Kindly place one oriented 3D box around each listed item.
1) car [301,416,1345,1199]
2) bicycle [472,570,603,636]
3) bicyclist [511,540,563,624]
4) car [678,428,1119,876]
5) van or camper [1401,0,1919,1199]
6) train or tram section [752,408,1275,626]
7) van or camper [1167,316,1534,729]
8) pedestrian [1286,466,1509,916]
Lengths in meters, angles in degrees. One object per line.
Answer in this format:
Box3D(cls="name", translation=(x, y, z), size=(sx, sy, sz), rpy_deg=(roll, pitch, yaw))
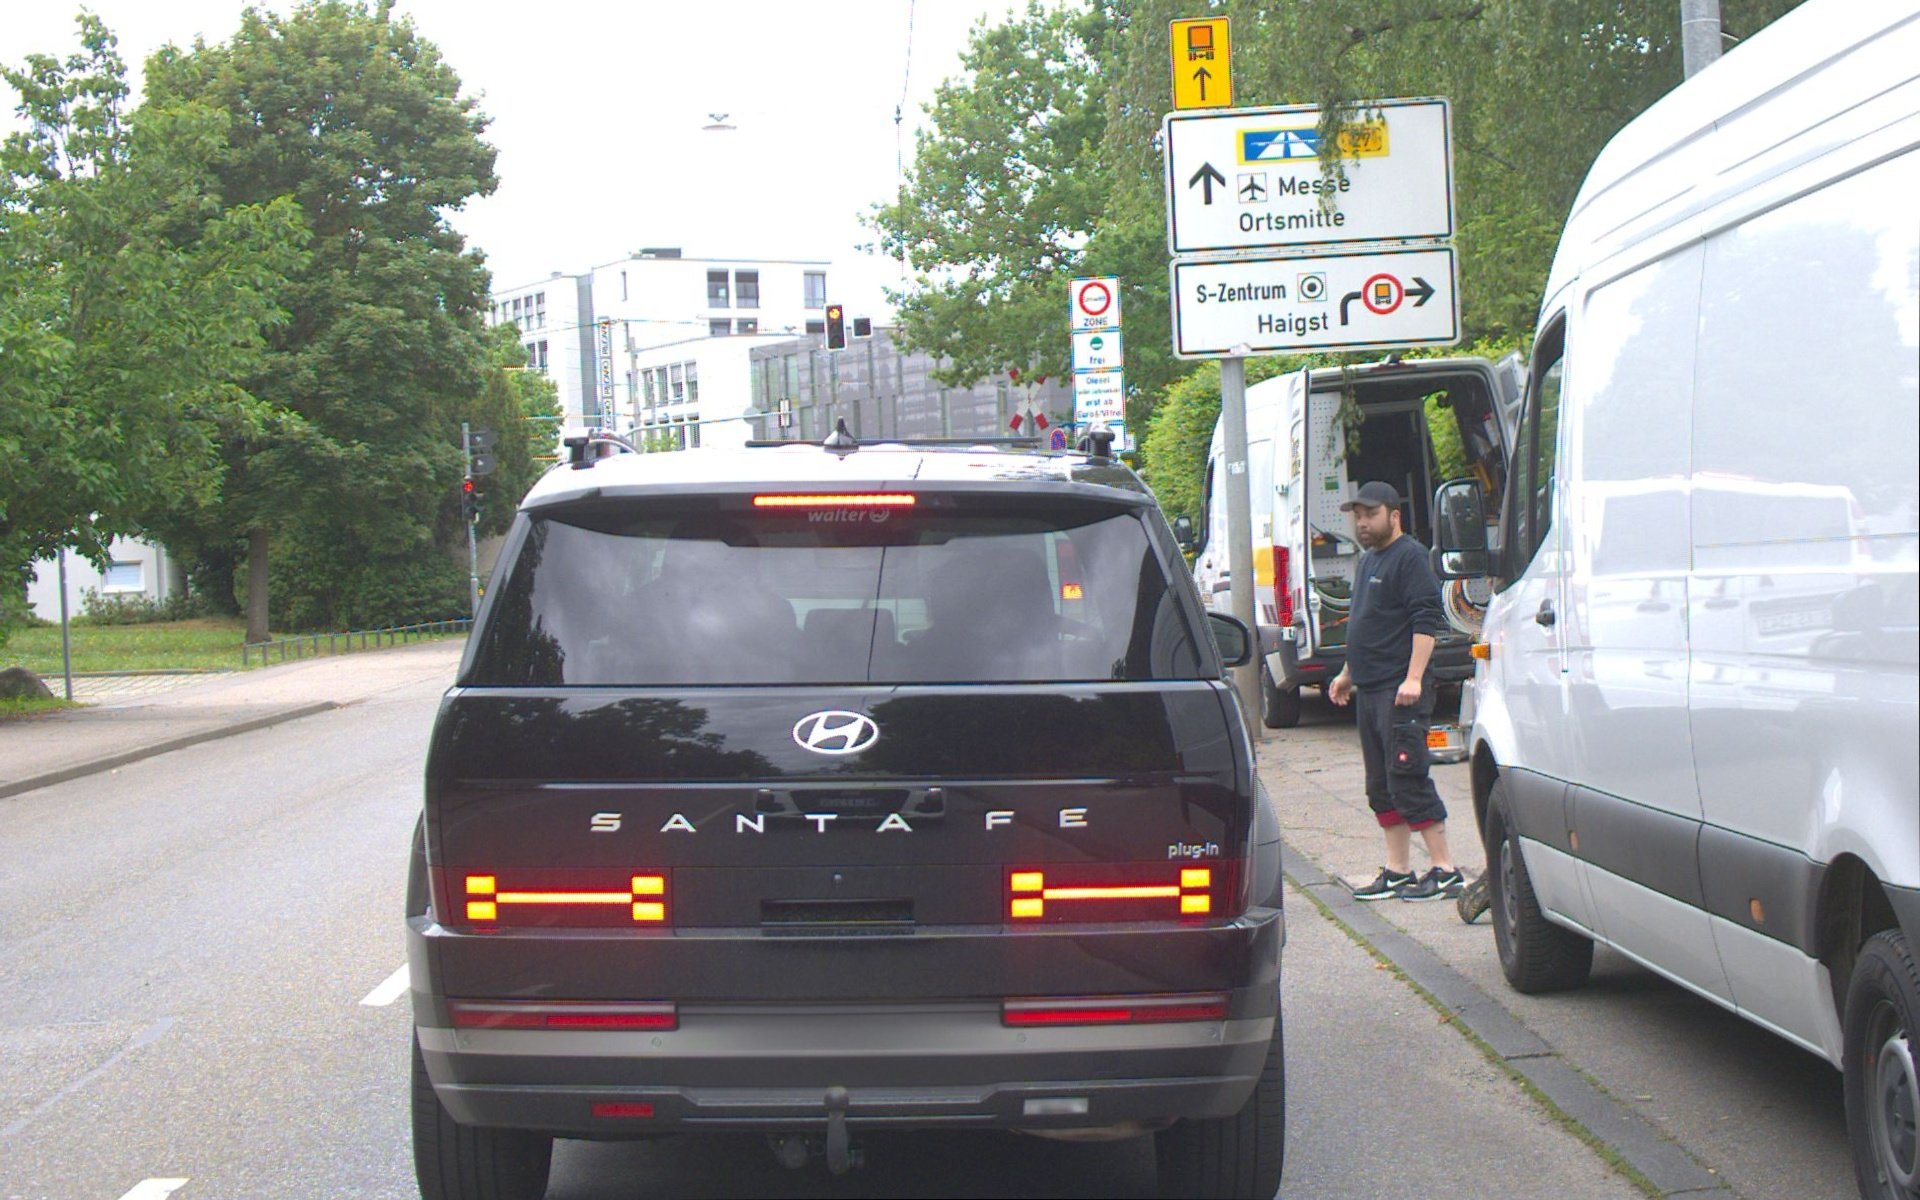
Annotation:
Box3D(cls="car", translation=(-0.305, 0.484, 8.548), size=(1.963, 1.705, 4.000), rpy_deg=(-1, 1, -1))
Box3D(cls="bicycle", translation=(-8.444, 0.072, 68.690), size=(2.494, 1.275, 0.677), rpy_deg=(-1, -1, 9))
Box3D(cls="bicyclist", translation=(-8.448, -0.355, 68.696), size=(0.856, 1.653, 0.677), rpy_deg=(-1, -1, 9))
Box3D(cls="car", translation=(-0.327, 0.200, 17.557), size=(1.963, 1.994, 4.000), rpy_deg=(-1, 1, -1))
Box3D(cls="van or camper", translation=(2.592, -0.072, 8.072), size=(1.963, 2.619, 6.359), rpy_deg=(-4, 1, -1))
Box3D(cls="train or tram section", translation=(0.753, -1.739, 83.072), size=(3.193, 4.507, 18.683), rpy_deg=(0, -1, -31))
Box3D(cls="van or camper", translation=(2.916, -0.592, 26.897), size=(1.963, 2.787, 5.287), rpy_deg=(-4, 1, -1))
Box3D(cls="pedestrian", translation=(1.737, 0.352, 13.687), size=(0.617, 1.737, 0.605), rpy_deg=(0, -1, -28))
